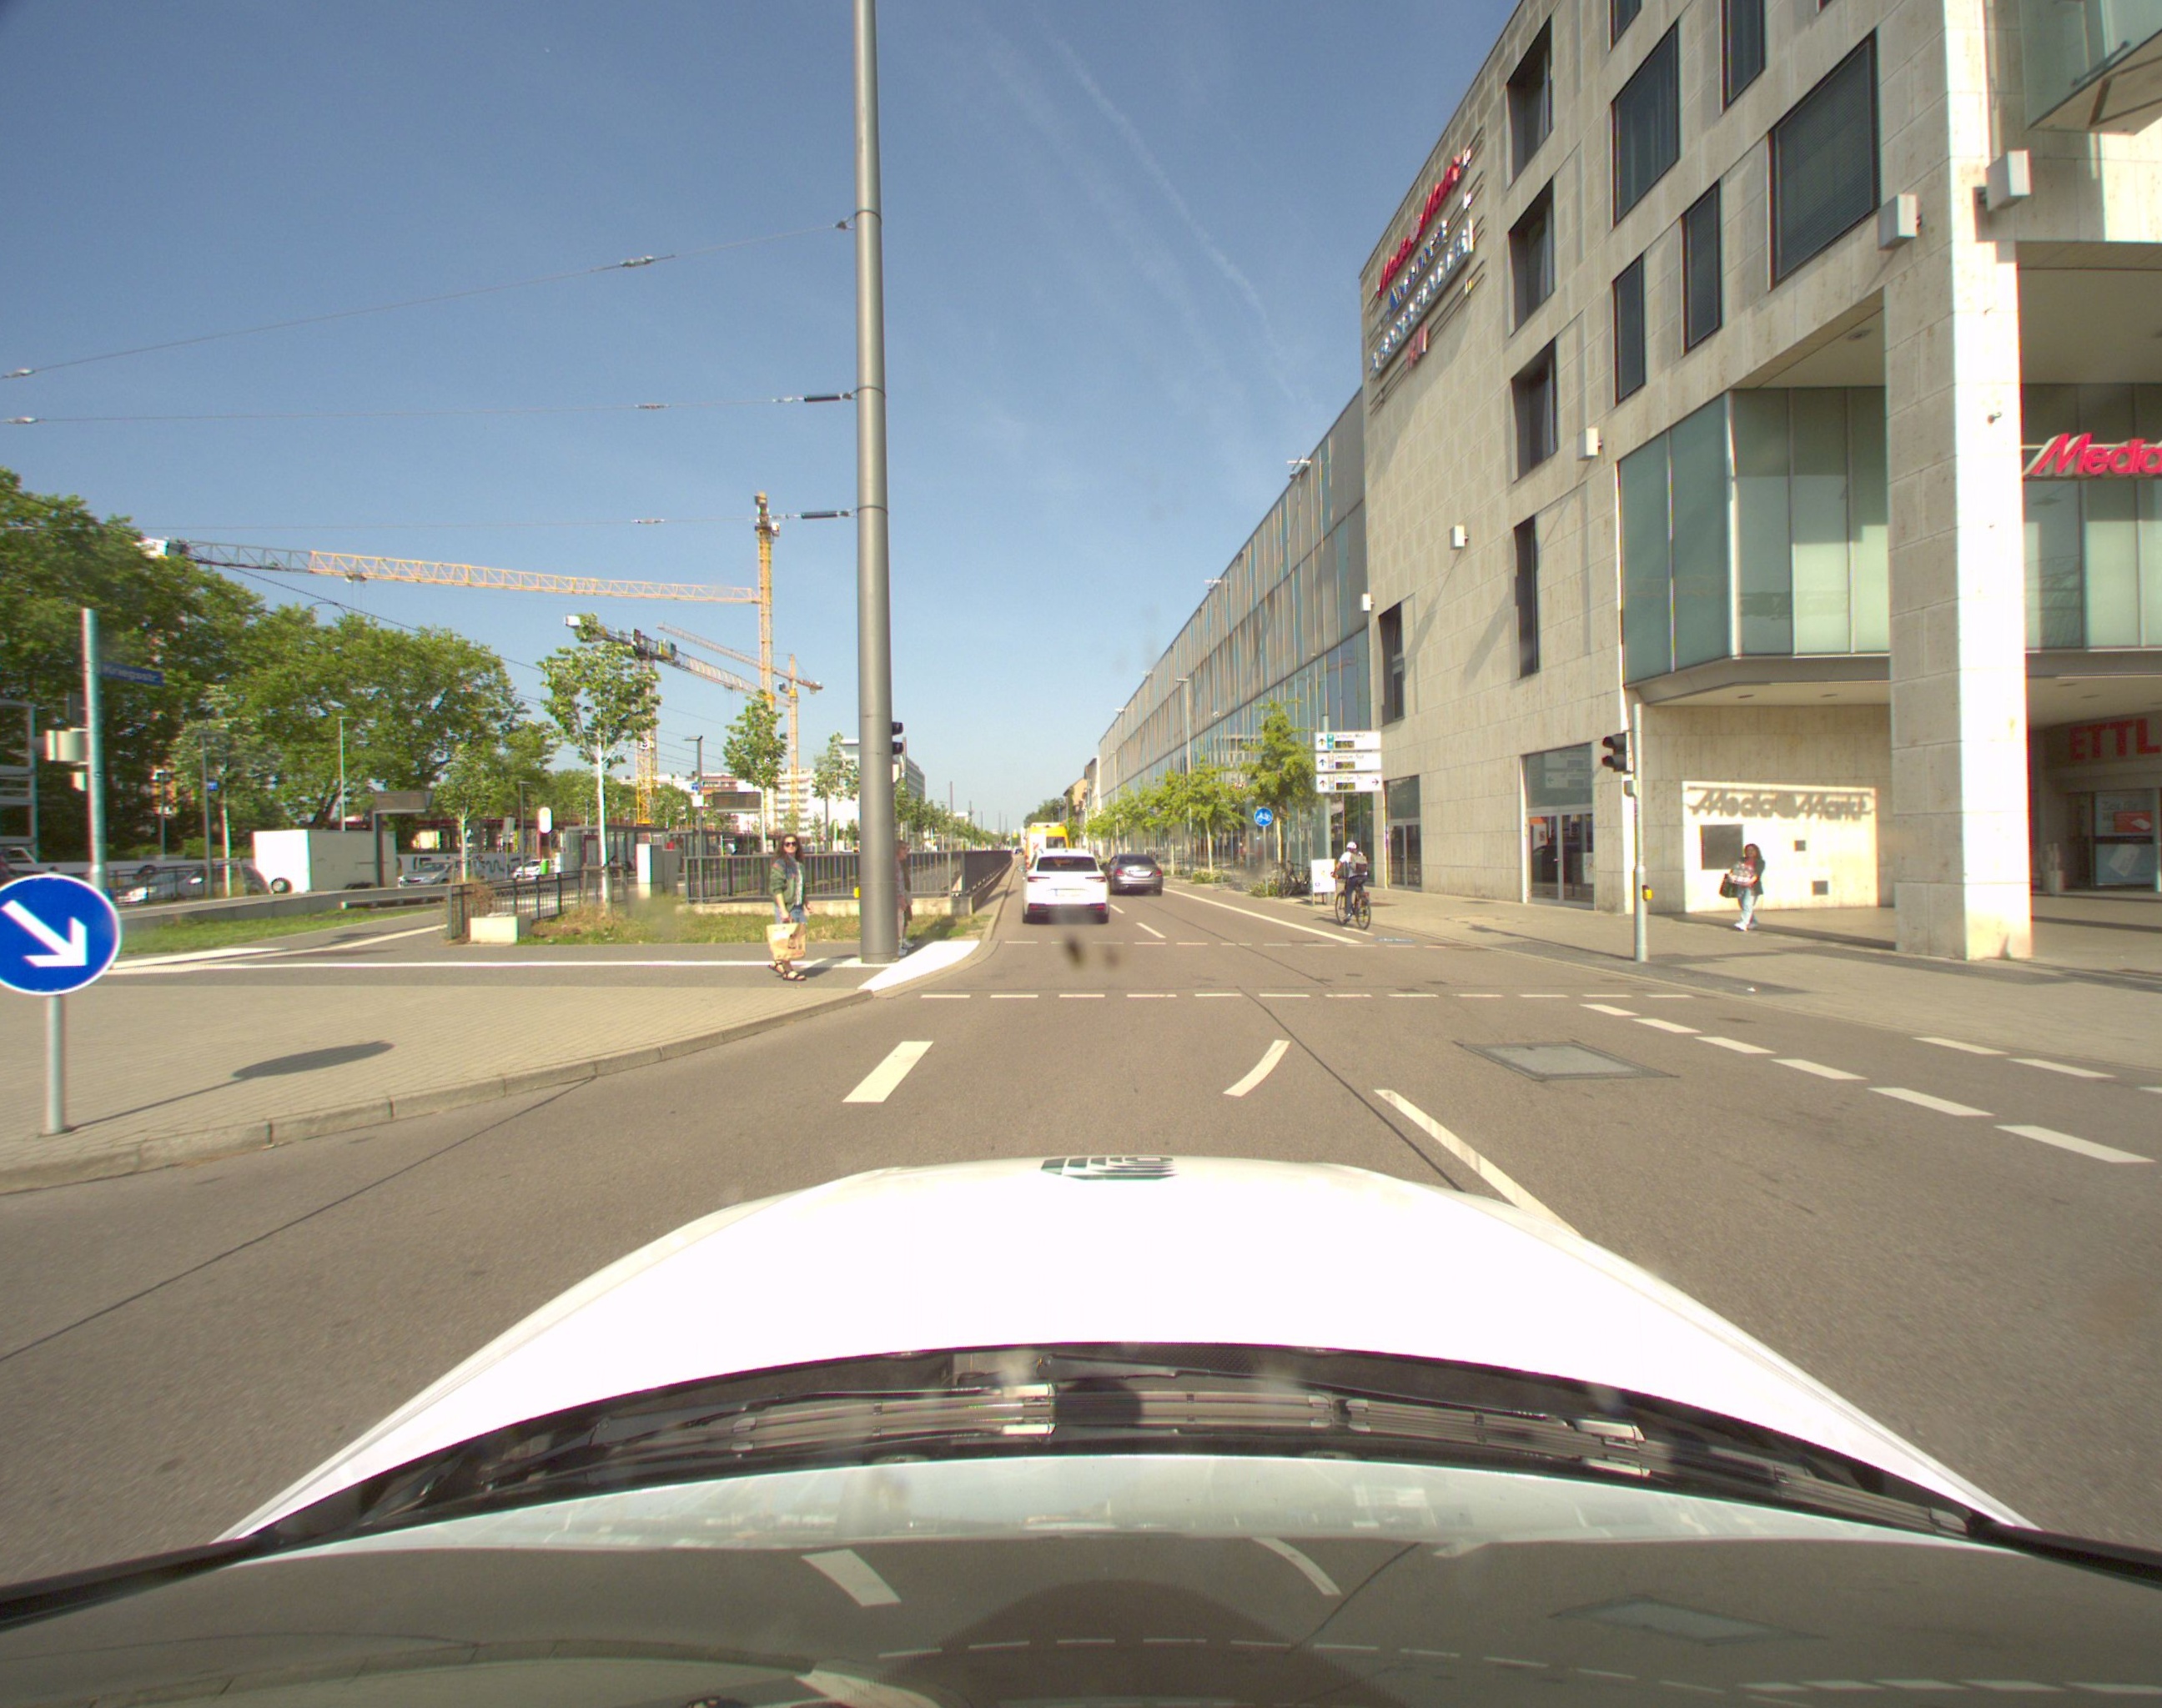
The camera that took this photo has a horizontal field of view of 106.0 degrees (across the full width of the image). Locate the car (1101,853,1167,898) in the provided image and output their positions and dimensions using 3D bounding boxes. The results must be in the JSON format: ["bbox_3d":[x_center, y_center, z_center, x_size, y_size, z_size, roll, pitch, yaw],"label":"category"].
[{"bbox_3d":[1.789,0.722,28.771,1.757,1.436,4.108,1,0,-5],"label":"car"}]

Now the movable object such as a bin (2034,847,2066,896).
[{"bbox_3d":[21.890,0.397,18.403,0.291,1.099,0.355,-1,0,-2],"label":"movable object such as a bin"}]

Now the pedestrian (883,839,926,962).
[{"bbox_3d":[-2.461,0.622,11.401,0.466,1.650,0.776,-1,0,-4],"label":"pedestrian"}]

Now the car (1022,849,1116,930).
[{"bbox_3d":[-0.374,0.702,18.368,1.866,1.574,3.994,-1,0,-4],"label":"car"}]

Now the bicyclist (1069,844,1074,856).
[{"bbox_3d":[-1.207,-0.493,105.517,0.637,1.577,0.770,-1,0,-2],"label":"bicyclist"}]

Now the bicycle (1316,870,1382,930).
[{"bbox_3d":[5.602,0.935,17.138,0.659,1.117,2.050,-1,0,-2],"label":"bicycle"}]

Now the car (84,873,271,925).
[{"bbox_3d":[-30.331,1.451,27.572,1.640,1.469,4.395,-1,0,-5],"label":"car"}]

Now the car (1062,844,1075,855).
[{"bbox_3d":[-2.379,-0.790,148.440,2.059,2.013,4.581,-1,0,-5],"label":"car"}]

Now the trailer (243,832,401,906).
[{"bbox_3d":[-31.023,0.580,33.555,2.041,2.781,5.013,1,0,-5],"label":"trailer"}]

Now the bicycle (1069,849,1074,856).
[{"bbox_3d":[-1.220,-0.161,105.557,0.654,0.938,1.516,-1,0,-2],"label":"bicycle"}]

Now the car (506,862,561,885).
[{"bbox_3d":[-37.378,1.294,55.677,1.593,1.463,3.429,-1,0,-4],"label":"car"}]

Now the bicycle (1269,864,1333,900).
[{"bbox_3d":[6.912,0.874,25.633,1.835,1.113,0.686,1,0,-3],"label":"bicycle"}]

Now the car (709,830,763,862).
[{"bbox_3d":[-40.354,-0.889,95.543,3.049,3.513,9.218,0,0,-5],"label":"car"}]

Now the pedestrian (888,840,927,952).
[{"bbox_3d":[-2.645,0.624,12.457,0.466,1.650,0.776,-1,0,-4],"label":"pedestrian"}]

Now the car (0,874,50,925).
[{"bbox_3d":[-30.008,1.264,21.254,1.720,1.361,3.688,-1,0,-8],"label":"car"}]

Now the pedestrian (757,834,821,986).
[{"bbox_3d":[-3.305,0.609,9.261,0.466,1.650,0.776,-1,0,-4],"label":"pedestrian"}]

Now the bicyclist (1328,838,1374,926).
[{"bbox_3d":[5.579,0.564,16.862,0.649,1.749,0.769,-1,0,-2],"label":"bicyclist"}]

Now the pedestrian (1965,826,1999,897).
[{"bbox_3d":[21.666,0.167,19.580,0.457,1.678,0.500,-1,0,-39],"label":"pedestrian"}]

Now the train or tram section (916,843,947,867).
[{"bbox_3d":[-24.451,0.212,133.900,2.900,3.676,18.109,1,0,-4],"label":"train or tram section"}]

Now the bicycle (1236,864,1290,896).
[{"bbox_3d":[6.656,0.939,29.798,1.874,1.109,0.490,-1,0,-3],"label":"bicycle"}]

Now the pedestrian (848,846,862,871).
[{"bbox_3d":[-14.585,0.271,52.630,0.734,1.619,0.709,-1,0,-5],"label":"pedestrian"}]

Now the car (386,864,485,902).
[{"bbox_3d":[-31.651,1.374,40.094,1.717,1.662,4.145,-1,0,-4],"label":"car"}]

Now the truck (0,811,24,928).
[{"bbox_3d":[-34.006,0.531,20.846,3.019,3.586,8.867,-1,1,-8],"label":"truck"}]

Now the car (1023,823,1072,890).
[{"bbox_3d":[-1.604,0.009,37.107,2.016,2.795,5.394,-1,2,-4],"label":"car"}]

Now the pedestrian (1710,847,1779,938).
[{"bbox_3d":[11.247,0.634,13.813,0.709,1.487,0.601,-1,0,-18],"label":"pedestrian"}]

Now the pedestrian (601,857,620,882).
[{"bbox_3d":[-25.117,0.801,43.467,0.680,1.300,0.591,-1,0,-8],"label":"pedestrian"}]

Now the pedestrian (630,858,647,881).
[{"bbox_3d":[-25.265,0.884,46.502,0.680,1.300,0.591,-1,0,-8],"label":"pedestrian"}]
